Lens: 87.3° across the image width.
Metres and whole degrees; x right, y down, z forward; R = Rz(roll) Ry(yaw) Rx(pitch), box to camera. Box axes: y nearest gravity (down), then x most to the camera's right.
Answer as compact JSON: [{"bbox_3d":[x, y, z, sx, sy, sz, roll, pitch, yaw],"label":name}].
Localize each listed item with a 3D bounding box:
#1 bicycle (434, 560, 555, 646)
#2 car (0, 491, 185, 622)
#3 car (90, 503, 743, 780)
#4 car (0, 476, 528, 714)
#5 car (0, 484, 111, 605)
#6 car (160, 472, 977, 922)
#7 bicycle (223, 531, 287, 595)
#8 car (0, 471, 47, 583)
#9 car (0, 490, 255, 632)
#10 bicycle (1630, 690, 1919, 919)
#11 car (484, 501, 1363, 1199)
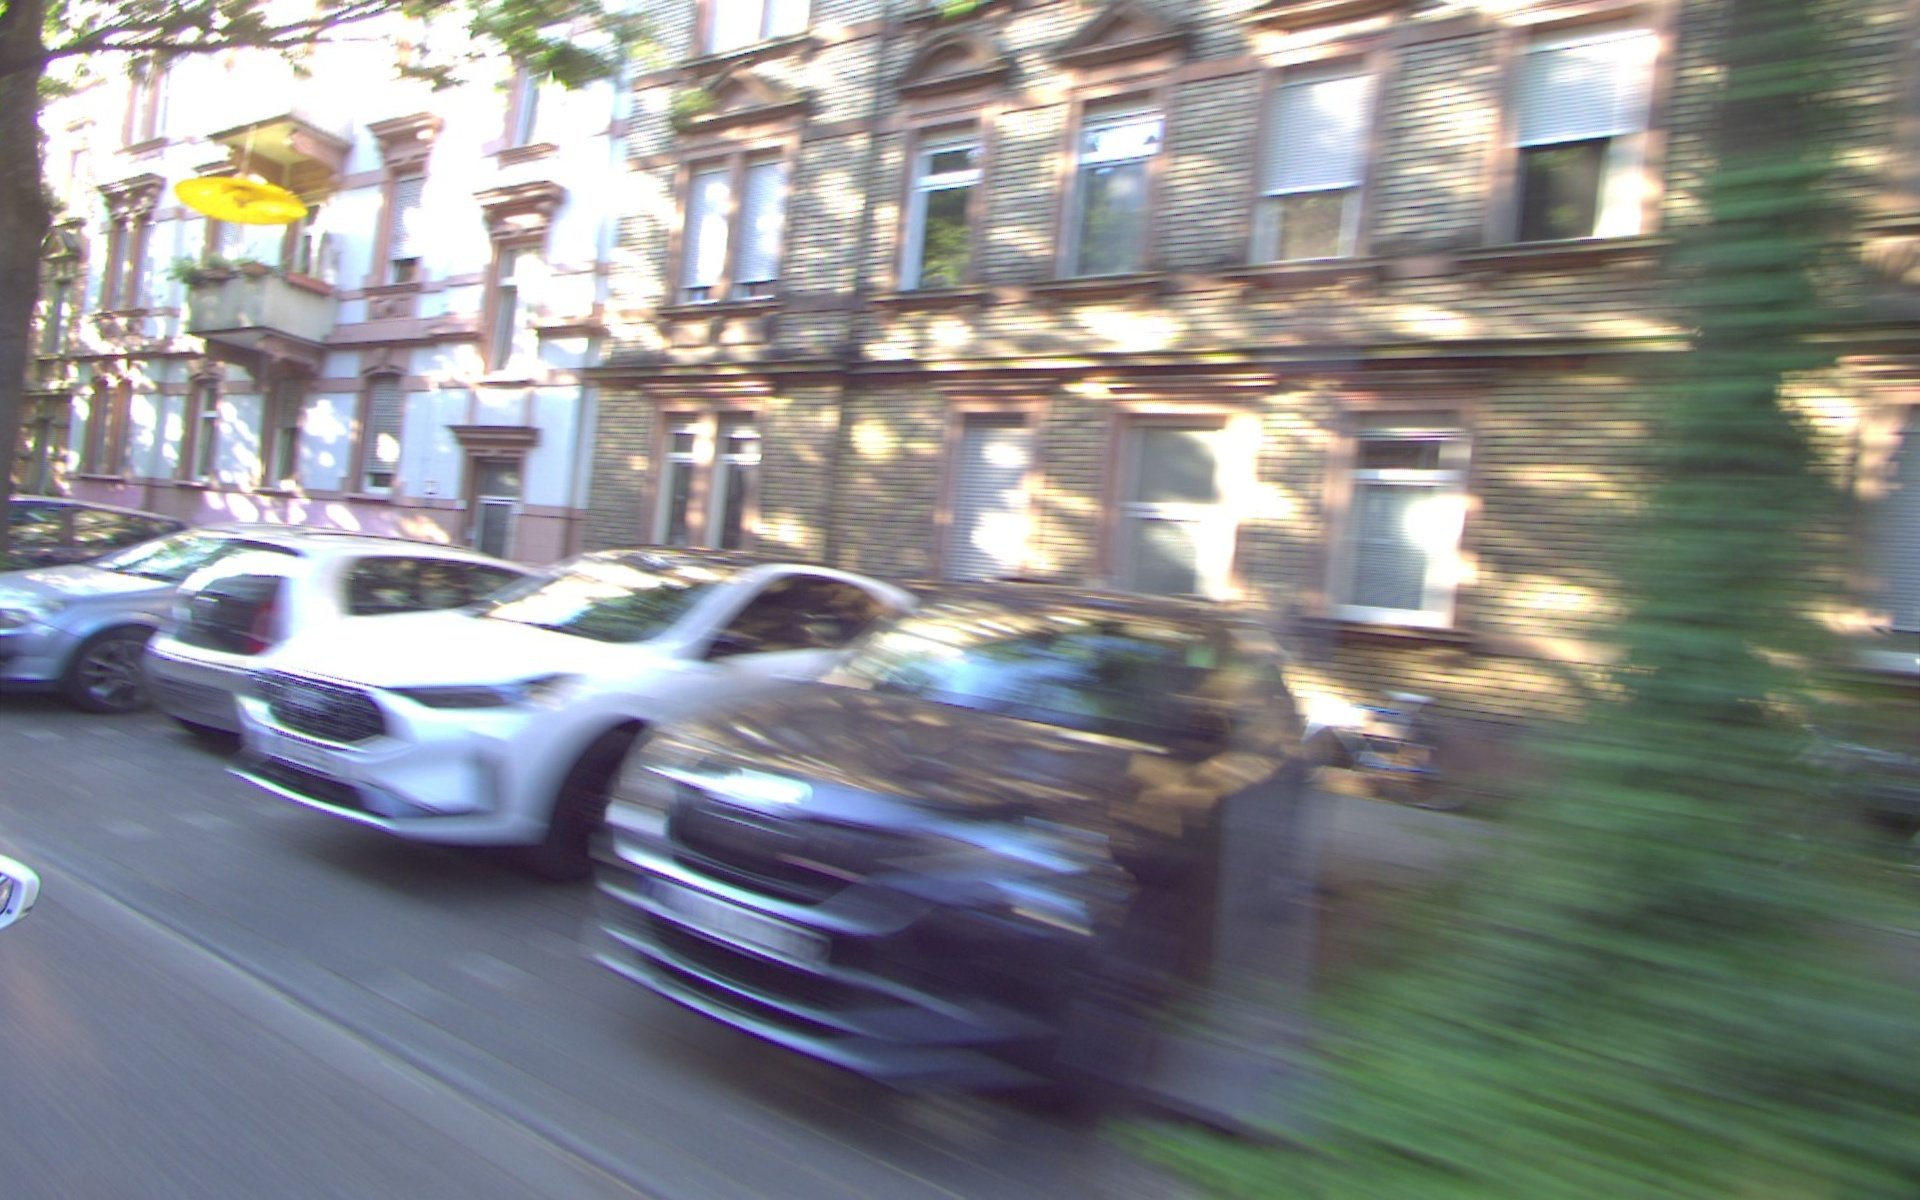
[{"bbox_3d":[-6.995,0.032,15.089,1.913,1.058,0.405,7,0,24],"label":"bicycle"},{"bbox_3d":[-12.326,-0.663,12.361,1.751,1.480,3.997,7,-1,26],"label":"car"},{"bbox_3d":[-3.867,0.363,7.944,1.771,1.487,4.108,7,-1,30],"label":"car"},{"bbox_3d":[-6.190,0.023,8.718,1.769,1.554,4.234,7,-1,26],"label":"car"},{"bbox_3d":[-14.480,-0.952,13.704,1.751,1.609,3.997,7,-1,26],"label":"car"},{"bbox_3d":[-1.800,0.489,6.235,1.859,1.675,4.487,5,-2,28],"label":"car"},{"bbox_3d":[-13.468,-0.716,19.202,1.676,1.063,0.324,7,0,33],"label":"bicycle"},{"bbox_3d":[-16.595,-1.322,14.507,1.848,1.724,4.653,7,1,26],"label":"car"},{"bbox_3d":[-10.185,-0.453,10.746,1.649,1.406,3.990,7,2,29],"label":"car"},{"bbox_3d":[6.150,1.461,7.406,1.851,1.335,0.535,7,0,28],"label":"bicycle"},{"bbox_3d":[0.459,0.768,4.713,1.860,1.675,4.484,5,-2,31],"label":"car"}]
